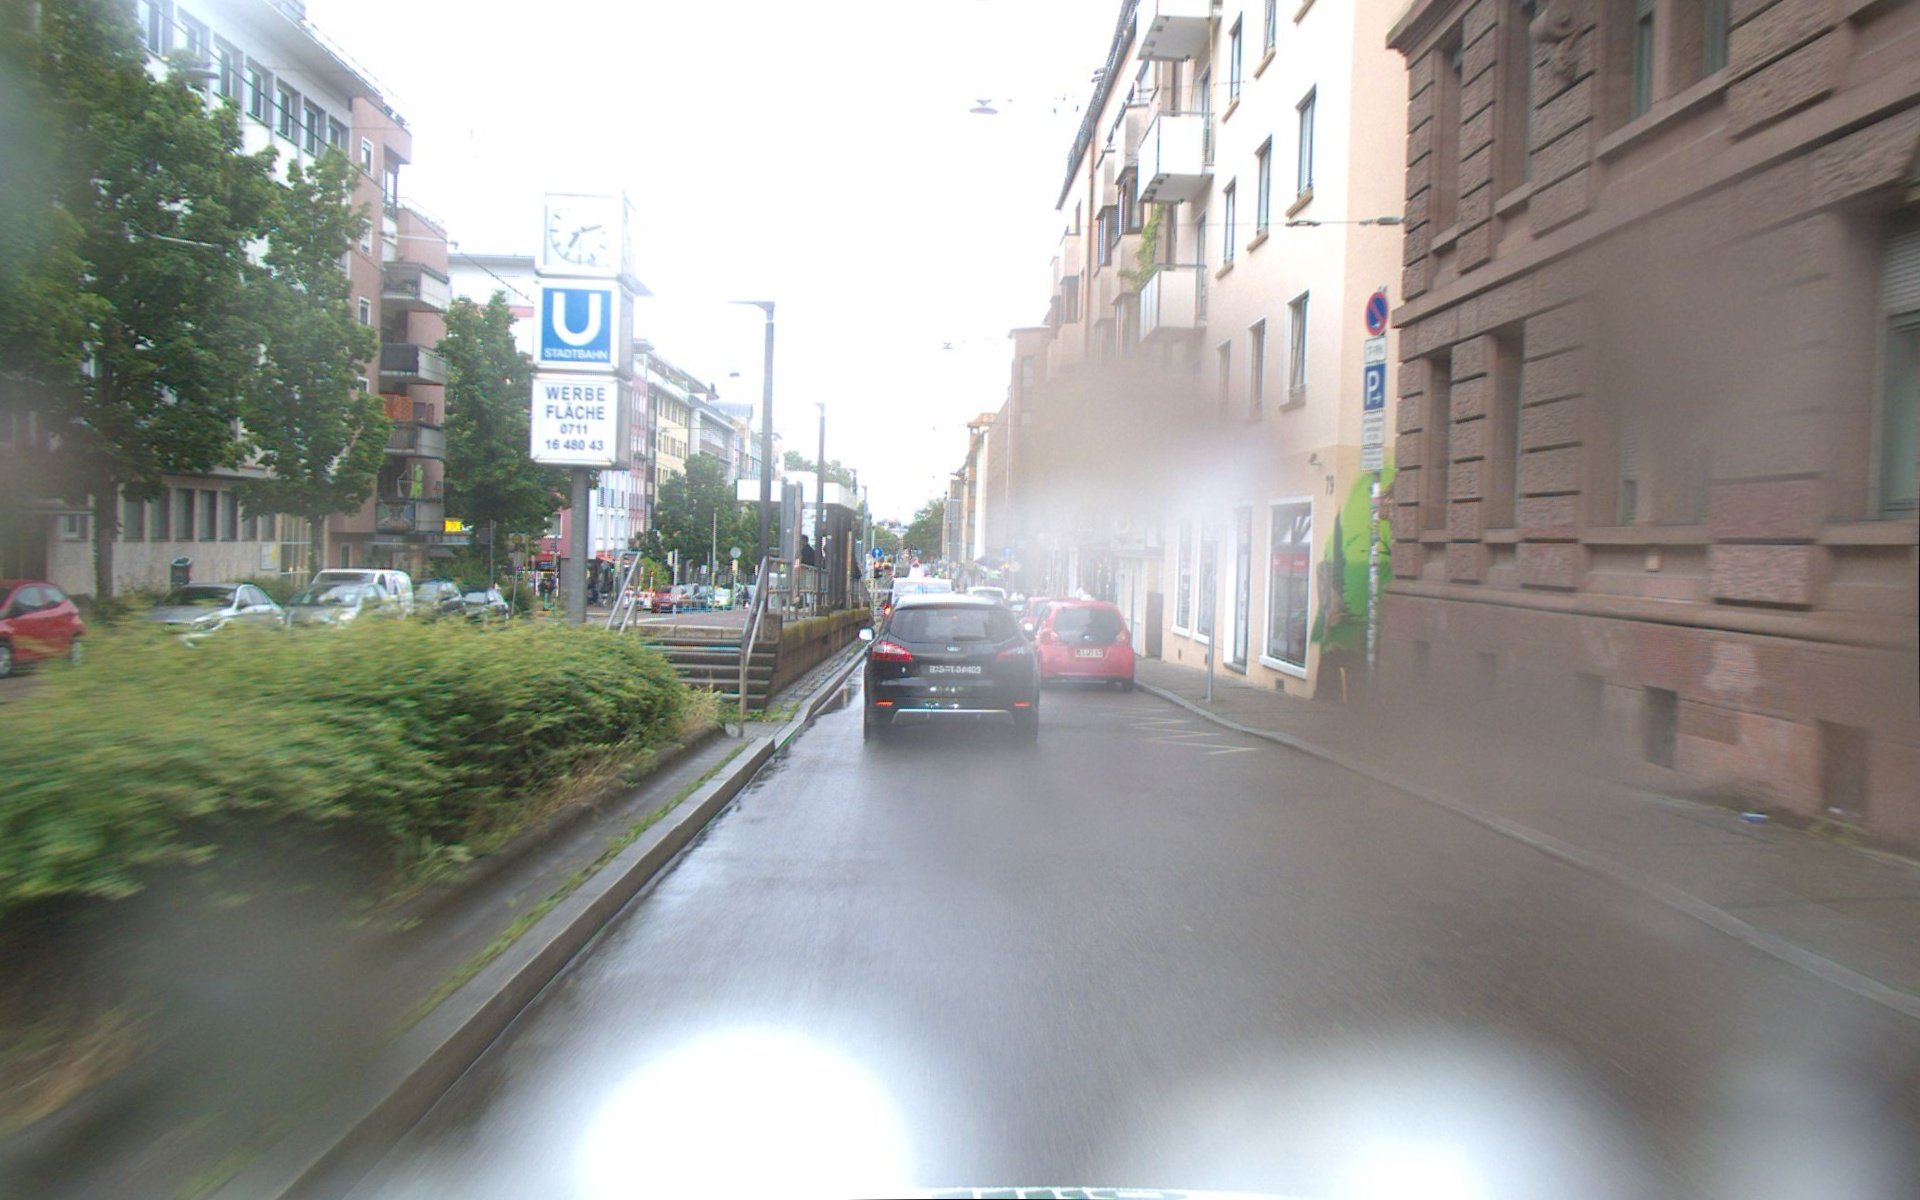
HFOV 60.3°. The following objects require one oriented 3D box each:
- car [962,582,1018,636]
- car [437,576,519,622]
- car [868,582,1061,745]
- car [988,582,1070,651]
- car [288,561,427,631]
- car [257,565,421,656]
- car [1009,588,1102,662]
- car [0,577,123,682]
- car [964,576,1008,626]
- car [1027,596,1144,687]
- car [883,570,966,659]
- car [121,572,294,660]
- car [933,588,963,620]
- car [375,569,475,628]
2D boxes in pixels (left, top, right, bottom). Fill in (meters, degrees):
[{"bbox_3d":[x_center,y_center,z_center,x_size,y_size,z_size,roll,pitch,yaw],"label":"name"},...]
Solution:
[{"bbox_3d":[1.072,0.374,60.935,1.802,1.812,3.777,4,-1,-1],"label":"car"},{"bbox_3d":[-15.865,-0.004,54.616,1.519,1.419,4.045,2,-1,-1],"label":"car"},{"bbox_3d":[-0.060,0.607,17.722,1.806,1.533,3.997,1,0,-4],"label":"car"},{"bbox_3d":[1.750,0.457,43.153,1.820,1.612,3.777,4,-1,-1],"label":"car"},{"bbox_3d":[-15.555,-0.055,42.995,1.818,1.665,4.933,2,-1,-1],"label":"car"},{"bbox_3d":[-12.472,0.236,33.495,1.818,1.665,4.044,2,-1,-1],"label":"car"},{"bbox_3d":[1.956,0.493,34.642,1.637,1.446,3.475,1,0,-2],"label":"car"},{"bbox_3d":[-15.079,0.430,25.956,1.818,1.553,4.045,2,-1,-1],"label":"car"},{"bbox_3d":[1.009,0.070,66.603,1.559,1.812,3.777,4,-1,-1],"label":"car"},{"bbox_3d":[2.090,0.659,28.423,1.637,1.446,3.475,1,0,-2],"label":"car"},{"bbox_3d":[-0.945,0.314,41.917,1.948,2.096,4.643,1,1,-2],"label":"car"},{"bbox_3d":[-14.974,0.334,33.156,1.634,1.585,4.045,2,-1,-1],"label":"car"},{"bbox_3d":[-0.889,0.280,116.349,1.953,2.049,3.999,4,-1,-1],"label":"car"},{"bbox_3d":[-15.720,-0.019,48.811,1.660,1.601,4.045,2,-1,-1],"label":"car"}]
